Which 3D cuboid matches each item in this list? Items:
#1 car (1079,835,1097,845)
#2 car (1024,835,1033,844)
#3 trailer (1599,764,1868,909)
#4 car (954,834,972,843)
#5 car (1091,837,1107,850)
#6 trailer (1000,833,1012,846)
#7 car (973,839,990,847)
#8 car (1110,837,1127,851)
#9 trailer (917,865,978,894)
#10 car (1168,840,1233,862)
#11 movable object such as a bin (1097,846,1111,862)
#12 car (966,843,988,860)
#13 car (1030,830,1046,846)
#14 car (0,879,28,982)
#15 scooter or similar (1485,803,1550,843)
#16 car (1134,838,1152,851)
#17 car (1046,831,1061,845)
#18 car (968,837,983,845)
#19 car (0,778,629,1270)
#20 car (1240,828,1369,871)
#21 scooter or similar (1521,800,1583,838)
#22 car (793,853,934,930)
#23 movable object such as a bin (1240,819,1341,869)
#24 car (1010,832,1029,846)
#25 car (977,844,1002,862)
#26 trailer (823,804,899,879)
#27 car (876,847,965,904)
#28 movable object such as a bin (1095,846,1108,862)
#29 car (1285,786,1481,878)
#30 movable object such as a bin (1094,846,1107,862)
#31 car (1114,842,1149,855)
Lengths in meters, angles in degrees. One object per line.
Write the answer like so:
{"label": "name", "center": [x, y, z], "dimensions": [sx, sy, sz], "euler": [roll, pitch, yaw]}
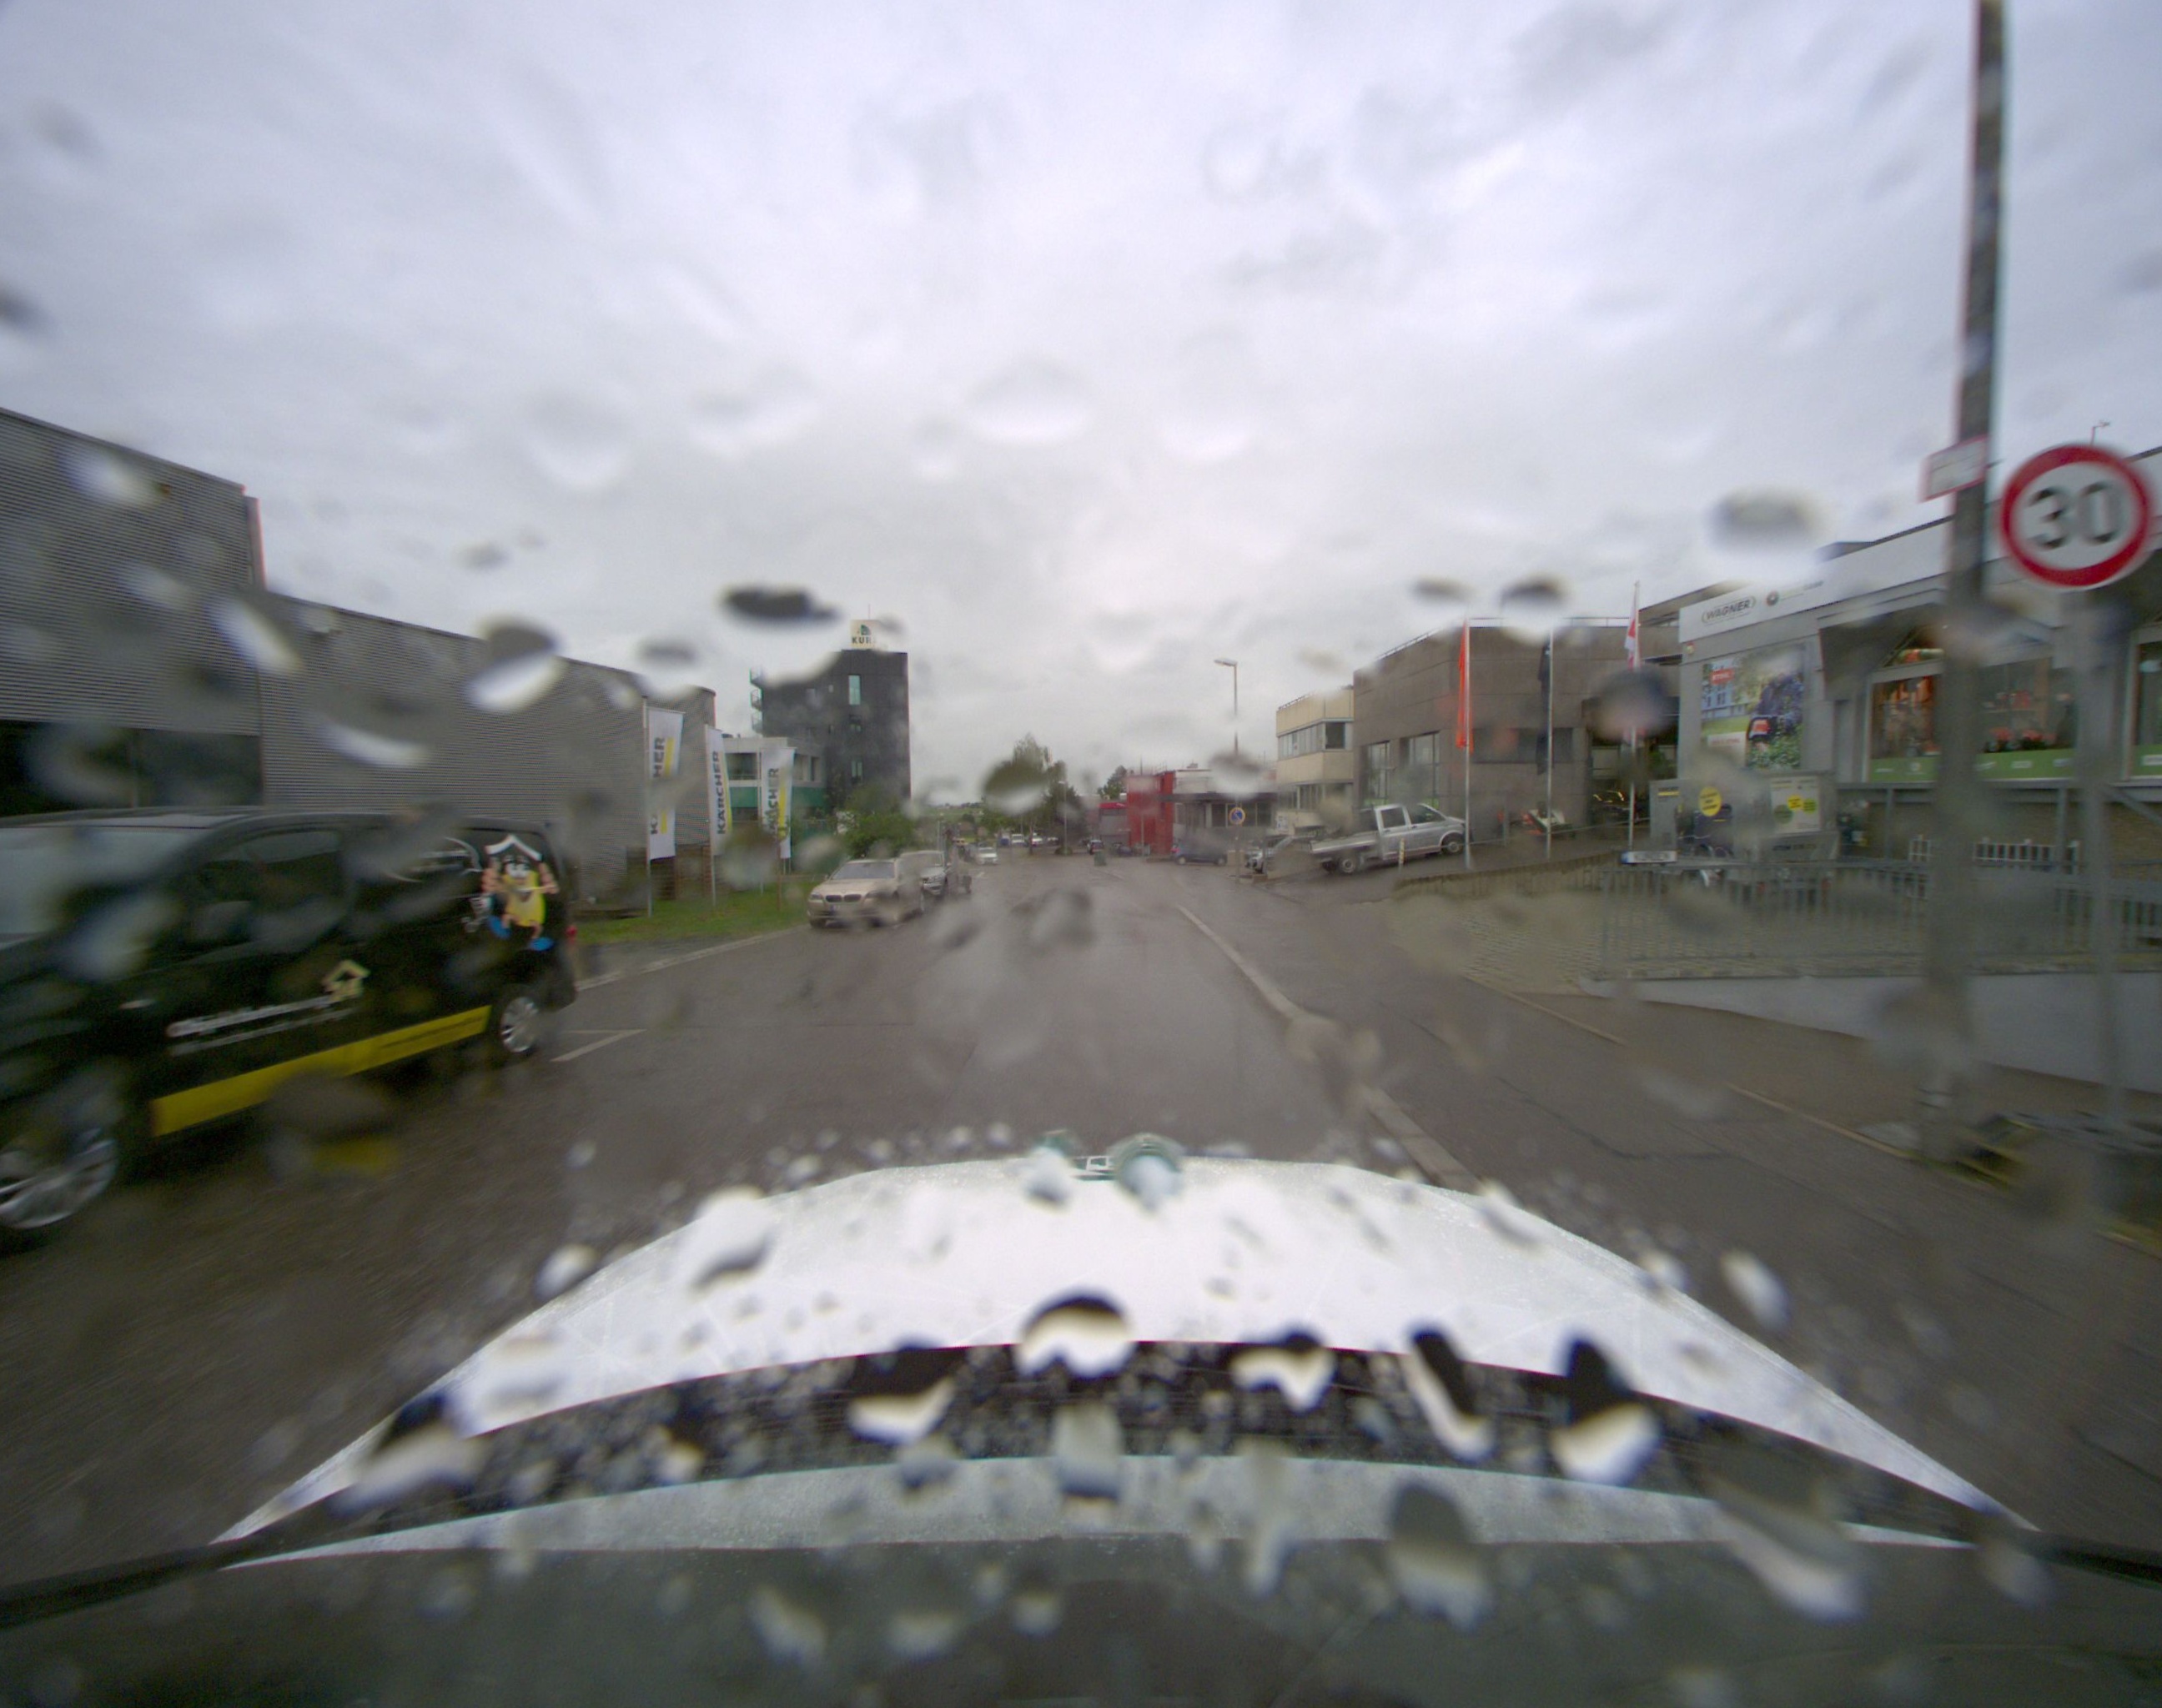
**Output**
{"label": "car", "center": [0.979, -2.016, 119.109], "dimensions": [2.545, 1.352, 1.240], "euler": [-1, 1, -6]}
{"label": "car", "center": [-8.849, -2.491, 137.268], "dimensions": [1.289, 1.424, 2.540], "euler": [-2, 0, -7]}
{"label": "trailer", "center": [12.484, -0.370, 16.014], "dimensions": [1.880, 2.416, 4.309], "euler": [-2, 2, 1]}
{"label": "car", "center": [-30.449, -4.073, 210.052], "dimensions": [4.220, 2.225, 2.003], "euler": [-2, 0, 5]}
{"label": "car", "center": [2.109, -1.258, 97.035], "dimensions": [1.692, 1.475, 3.998], "euler": [-2, 0, -1]}
{"label": "trailer", "center": [-12.456, -2.415, 135.148], "dimensions": [1.852, 2.013, 3.989], "euler": [-1, 1, -8]}
{"label": "car", "center": [-21.526, -2.391, 176.332], "dimensions": [2.474, 1.539, 3.964], "euler": [-2, 0, -27]}
{"label": "car", "center": [4.493, -1.171, 97.768], "dimensions": [1.734, 1.653, 3.998], "euler": [-2, 0, -1]}
{"label": "trailer", "center": [-4.856, 0.911, 30.117], "dimensions": [1.676, 0.888, 3.895], "euler": [-2, 0, -2]}
{"label": "car", "center": [7.644, -0.218, 52.432], "dimensions": [3.884, 1.383, 1.820], "euler": [0, 0, -2]}
{"label": "movable object such as a bin", "center": [1.587, 0.015, 56.594], "dimensions": [0.805, 1.092, 0.708], "euler": [-2, 1, -6]}
{"label": "car", "center": [-10.788, -0.282, 84.352], "dimensions": [1.702, 1.609, 3.982], "euler": [-3, 2, -13]}
{"label": "car", "center": [-6.934, -2.577, 131.722], "dimensions": [2.192, 2.459, 3.988], "euler": [-2, 0, -9]}
{"label": "car", "center": [-21.124, 1.429, 13.978], "dimensions": [4.183, 1.771, 1.941], "euler": [-1, 4, 11]}
{"label": "scooter or similar", "center": [14.763, -1.068, 27.616], "dimensions": [1.060, 1.224, 2.066], "euler": [-5, 2, 2]}
{"label": "car", "center": [7.323, -1.080, 96.852], "dimensions": [1.724, 1.421, 3.998], "euler": [-2, 0, -1]}
{"label": "car", "center": [-4.504, -2.603, 132.759], "dimensions": [2.144, 2.013, 3.929], "euler": [-2, 0, -7]}
{"label": "car", "center": [-23.581, -2.823, 181.836], "dimensions": [2.005, 1.704, 3.964], "euler": [-2, 0, -27]}
{"label": "car", "center": [-4.970, 0.634, 4.714], "dimensions": [1.909, 1.831, 4.848], "euler": [-1, 0, 1]}
{"label": "car", "center": [9.683, -0.209, 35.589], "dimensions": [5.077, 1.613, 1.924], "euler": [-2, 1, -2]}
{"label": "scooter or similar", "center": [15.977, -1.166, 27.690], "dimensions": [1.000, 1.155, 1.846], "euler": [-5, 1, 2]}
{"label": "car", "center": [-4.940, 0.769, 19.357], "dimensions": [1.950, 1.461, 5.246], "euler": [-2, 1, -1]}
{"label": "movable object such as a bin", "center": [9.607, -0.461, 37.493], "dimensions": [4.241, 2.110, 1.477], "euler": [-2, 1, -1]}
{"label": "car", "center": [-9.926, -2.434, 131.209], "dimensions": [2.270, 2.013, 3.978], "euler": [-2, 0, -16]}
{"label": "car", "center": [-8.320, -0.121, 73.648], "dimensions": [1.772, 1.512, 4.128], "euler": [-2, 0, -12]}
{"label": "trailer", "center": [-12.838, -0.686, 47.383], "dimensions": [4.132, 4.202, 2.019], "euler": [-2, 1, 37]}
{"label": "car", "center": [-4.937, 0.611, 25.734], "dimensions": [1.952, 1.576, 4.836], "euler": [-2, 0, -2]}
{"label": "movable object such as a bin", "center": [1.440, 0.002, 57.812], "dimensions": [0.808, 1.090, 0.540], "euler": [-2, 1, -6]}
{"label": "car", "center": [9.643, -0.690, 26.348], "dimensions": [5.284, 2.013, 2.221], "euler": [-9, 0, -1]}
{"label": "movable object such as a bin", "center": [1.384, -0.001, 58.369], "dimensions": [0.808, 1.076, 0.580], "euler": [-2, 1, -6]}
{"label": "car", "center": [4.893, -0.580, 79.277], "dimensions": [3.388, 1.163, 1.792], "euler": [-1, 1, 1]}
